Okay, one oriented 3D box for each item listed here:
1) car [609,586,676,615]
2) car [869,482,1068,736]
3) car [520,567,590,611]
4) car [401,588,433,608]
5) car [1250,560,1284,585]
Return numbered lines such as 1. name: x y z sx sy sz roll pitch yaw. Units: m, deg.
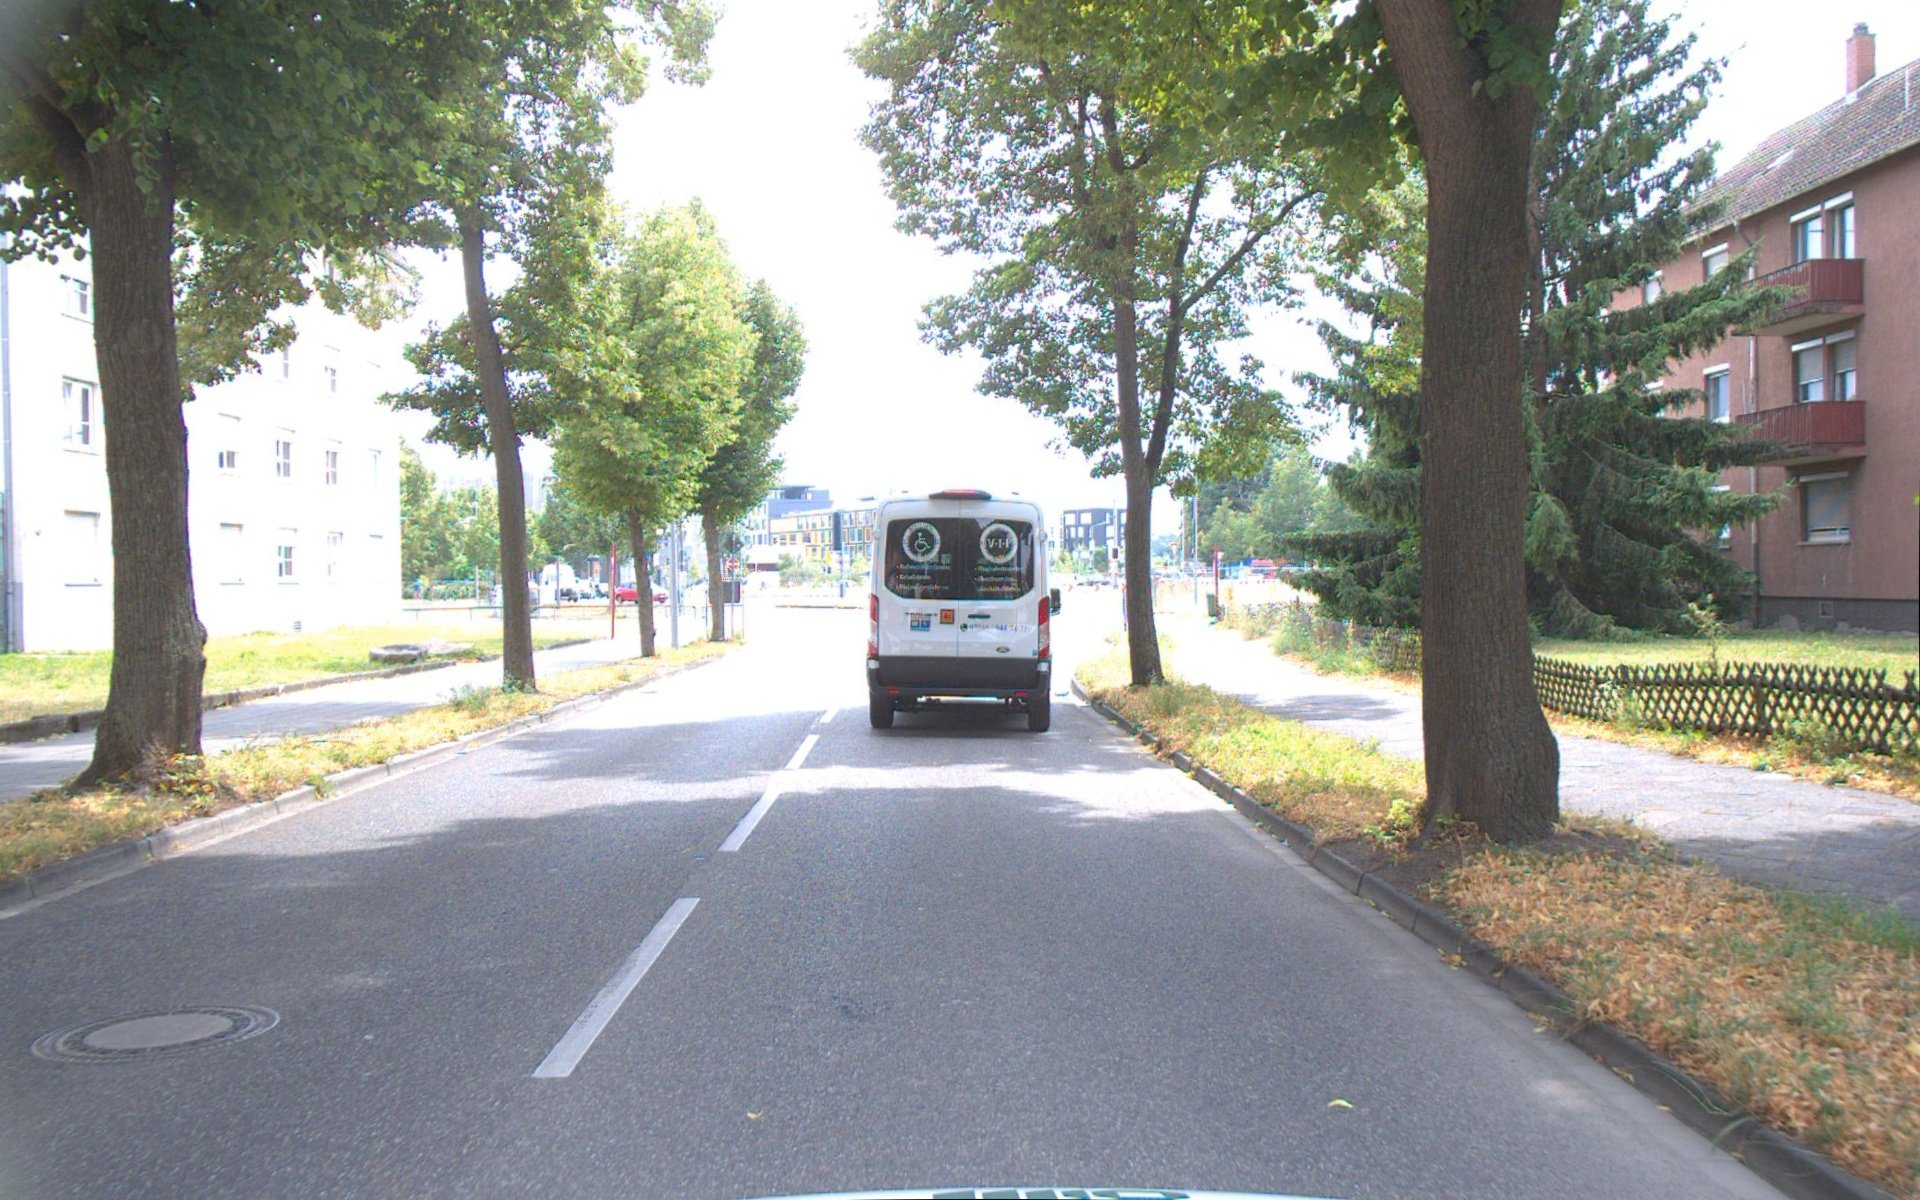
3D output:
1. car: -20.847 0.035 108.578 3.908 1.691 1.890 -2 0 25
2. car: 0.002 0.088 18.895 2.021 2.584 3.998 0 0 -3
3. car: -28.961 -0.782 118.162 2.594 2.900 5.594 -3 1 -39
4. car: -48.092 -0.176 146.404 1.865 1.691 3.959 -3 1 -30
5. car: 24.565 -2.189 132.059 1.965 1.848 4.414 -2 1 19
